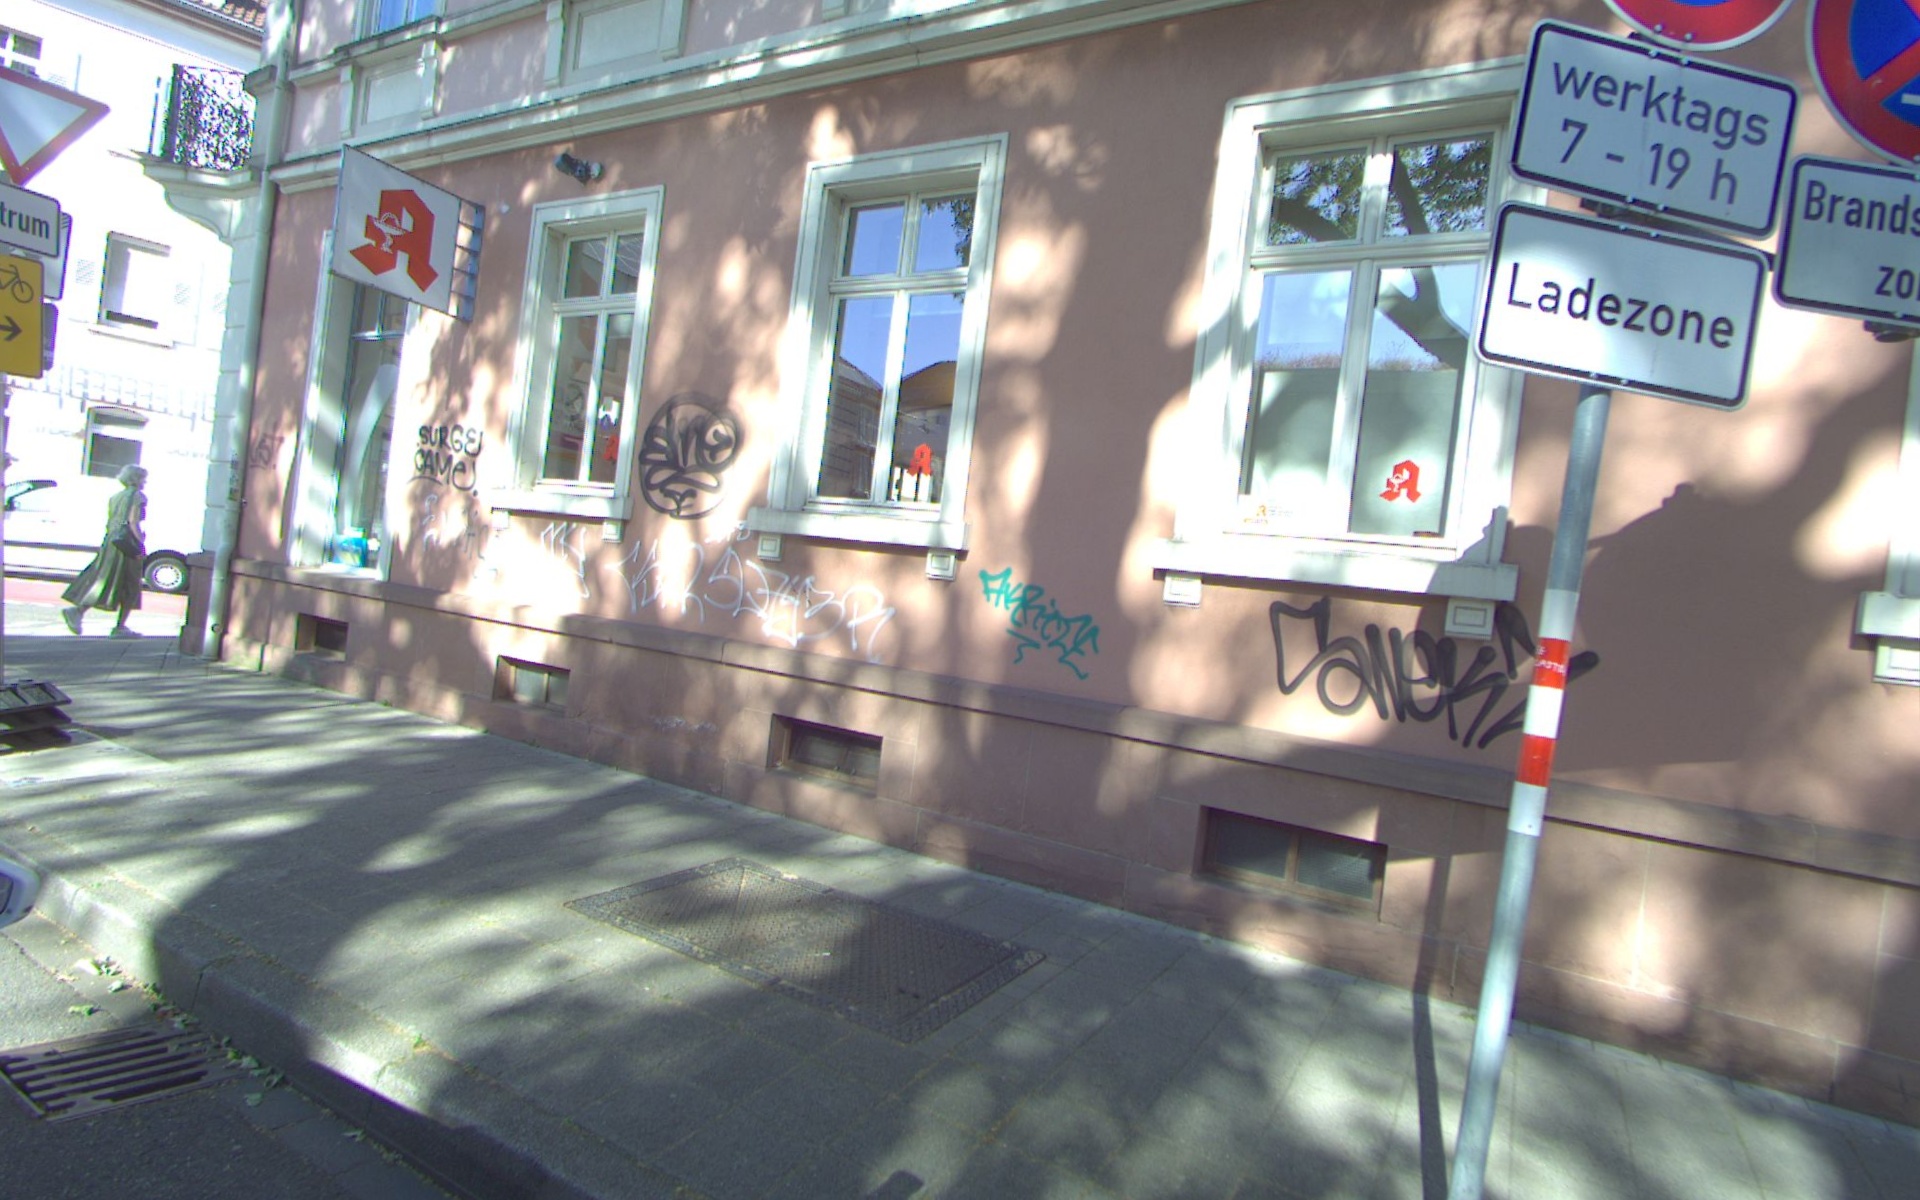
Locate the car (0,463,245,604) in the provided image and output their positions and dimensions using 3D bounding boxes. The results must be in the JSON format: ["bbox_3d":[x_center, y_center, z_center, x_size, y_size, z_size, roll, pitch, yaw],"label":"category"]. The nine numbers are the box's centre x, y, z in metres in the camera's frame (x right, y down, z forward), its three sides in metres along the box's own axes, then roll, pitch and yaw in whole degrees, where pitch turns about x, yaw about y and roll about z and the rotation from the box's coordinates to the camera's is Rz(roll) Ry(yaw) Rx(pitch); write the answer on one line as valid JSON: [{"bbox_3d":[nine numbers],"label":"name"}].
[{"bbox_3d":[-15.959,-1.255,18.001,4.983,1.969,2.030,8,-1,-37],"label":"car"}]

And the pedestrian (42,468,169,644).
[{"bbox_3d":[-8.641,-0.427,10.184,0.616,1.689,0.835,3,2,31],"label":"pedestrian"}]

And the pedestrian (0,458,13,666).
[{"bbox_3d":[-7.875,-0.313,7.609,0.832,1.596,0.843,6,5,31],"label":"pedestrian"}]

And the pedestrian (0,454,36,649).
[{"bbox_3d":[-9.276,-0.485,9.329,0.817,1.787,0.750,6,1,31],"label":"pedestrian"}]
